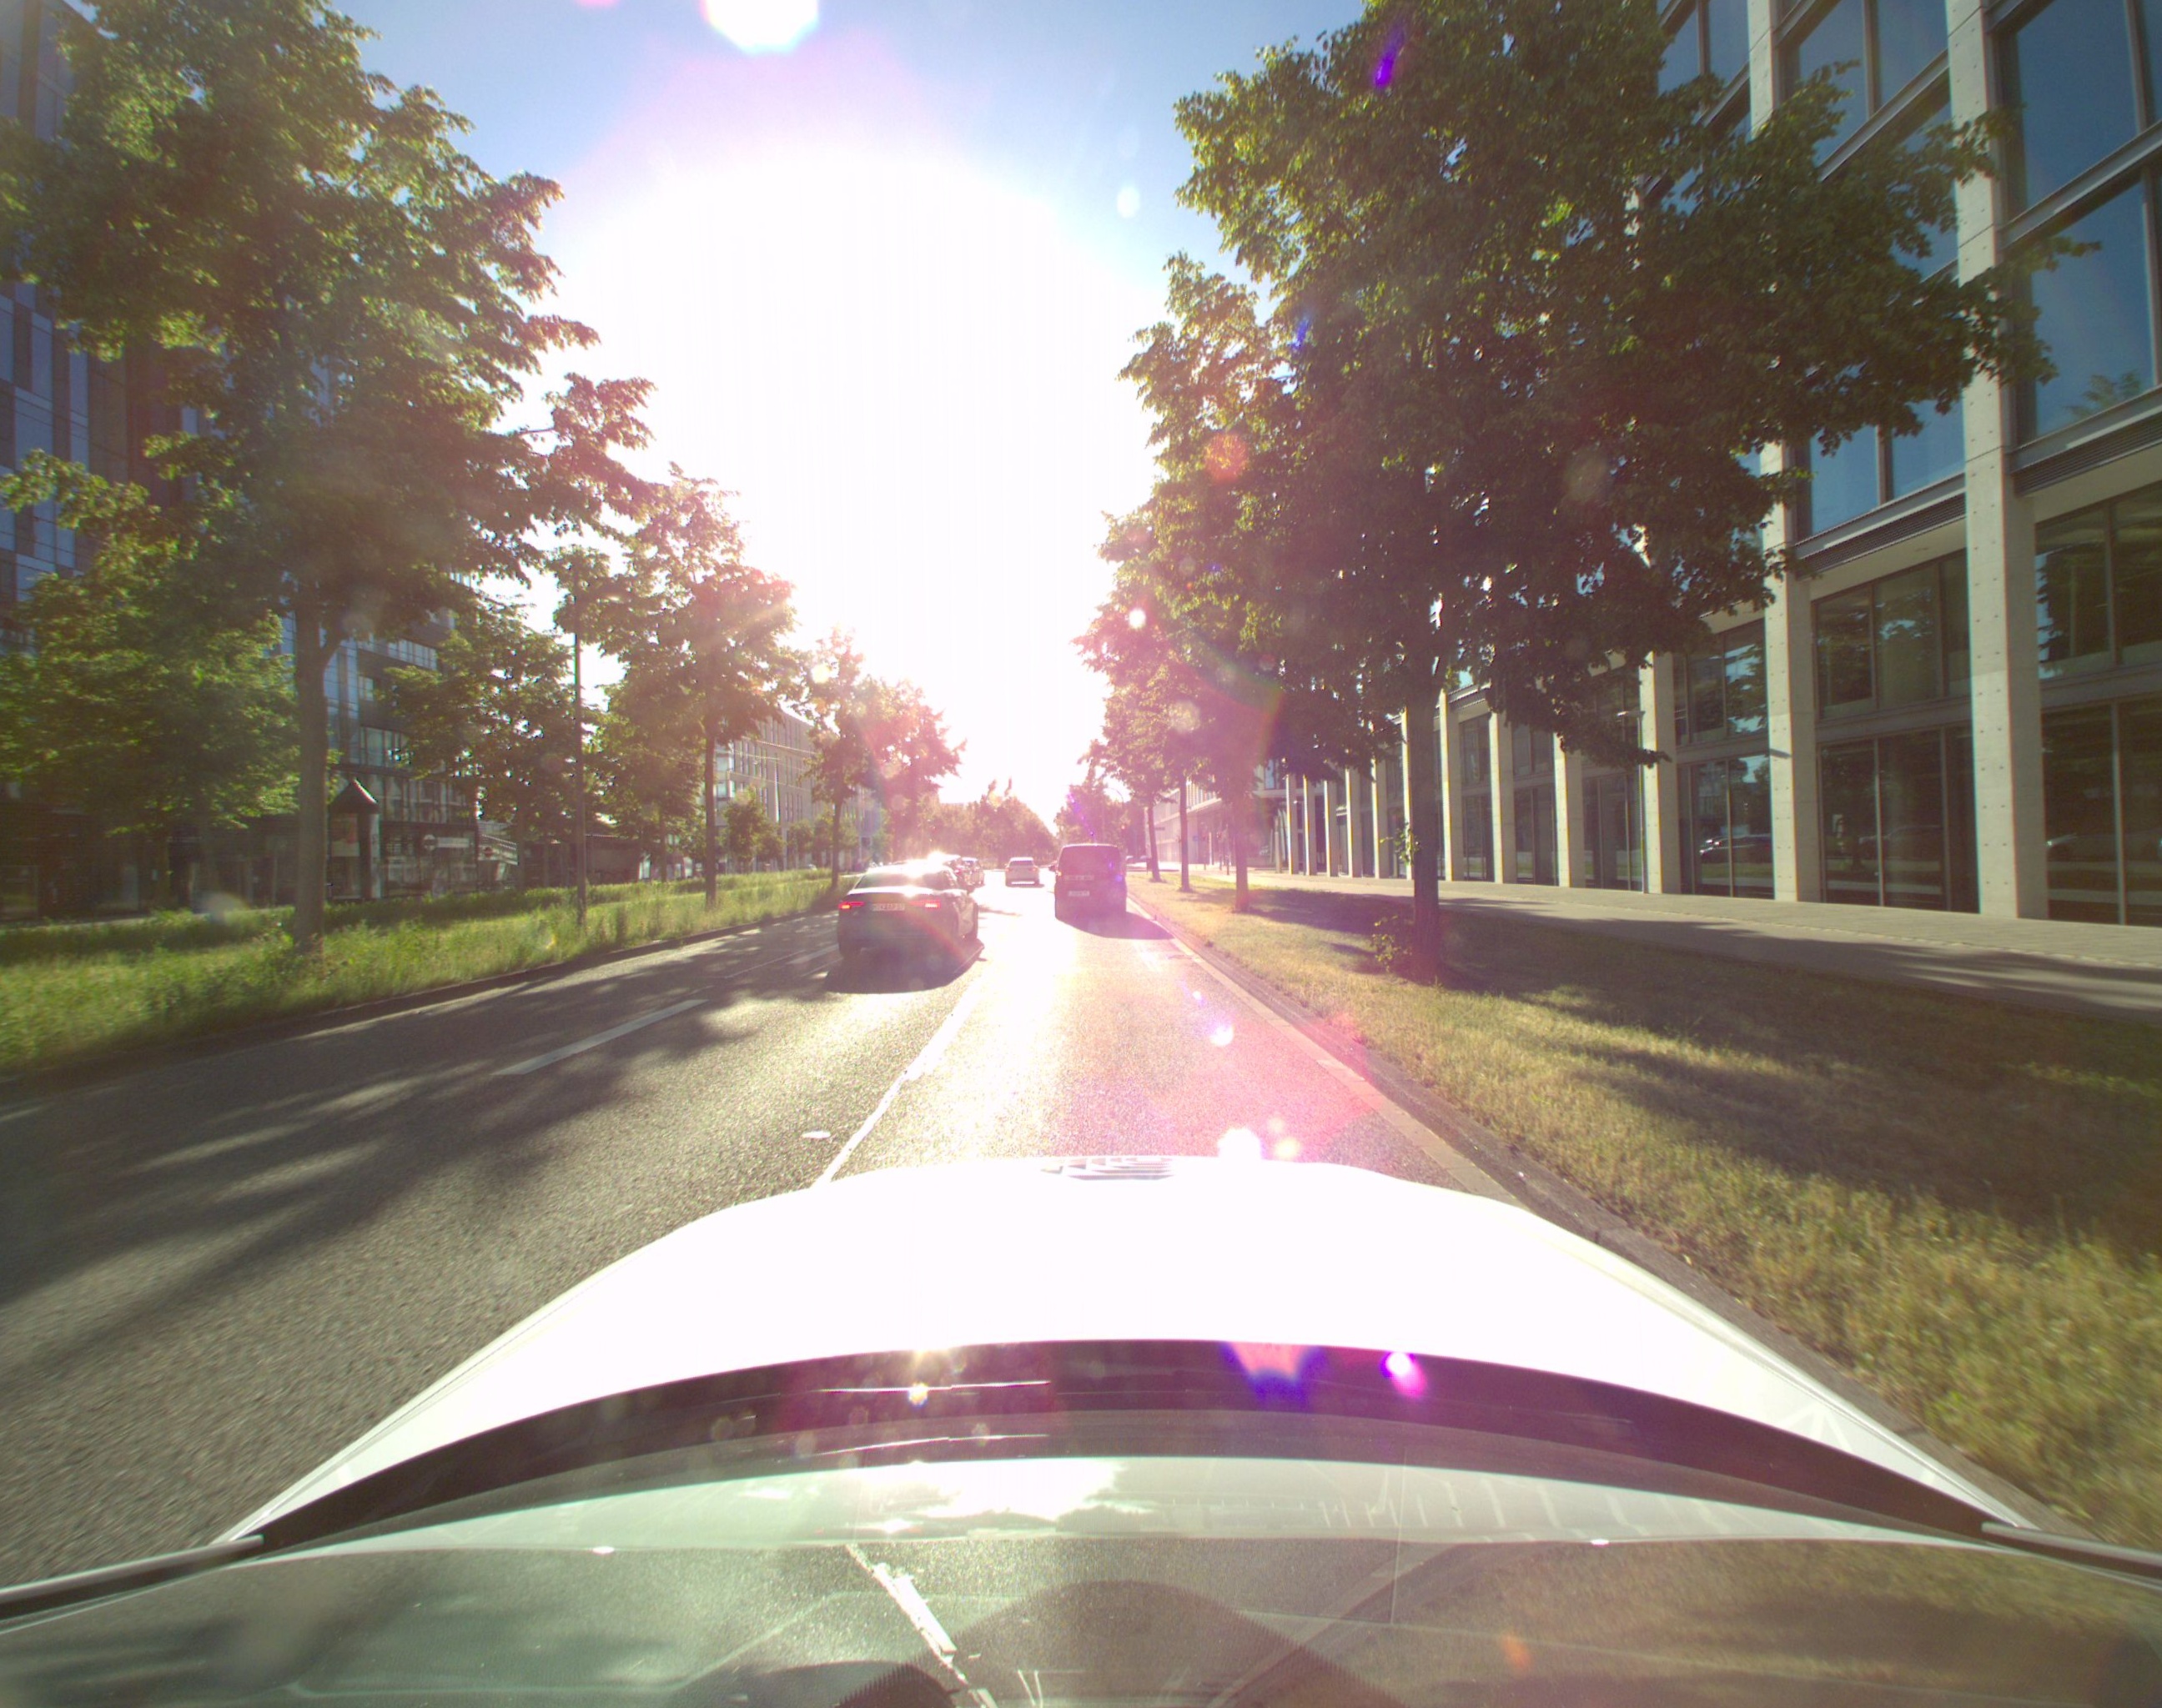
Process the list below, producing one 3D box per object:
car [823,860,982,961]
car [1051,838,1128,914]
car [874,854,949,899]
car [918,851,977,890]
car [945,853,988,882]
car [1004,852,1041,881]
[{"bbox_3d":[-2.758,0.802,13.526,1.715,1.366,4.145,-1,0,0],"label":"car"},{"bbox_3d":[0.235,0.483,21.122,1.791,1.776,4.001,0,1,1],"label":"car"},{"bbox_3d":[-5.939,0.753,29.026,1.938,1.441,3.996,-2,0,-3],"label":"car"},{"bbox_3d":[-5.747,0.671,35.534,1.836,1.534,3.940,-2,0,1],"label":"car"},{"bbox_3d":[-6.095,0.695,43.638,1.710,1.398,3.999,-2,0,0],"label":"car"},{"bbox_3d":[-3.039,0.637,42.863,1.716,1.425,3.815,-2,0,-1],"label":"car"}]
